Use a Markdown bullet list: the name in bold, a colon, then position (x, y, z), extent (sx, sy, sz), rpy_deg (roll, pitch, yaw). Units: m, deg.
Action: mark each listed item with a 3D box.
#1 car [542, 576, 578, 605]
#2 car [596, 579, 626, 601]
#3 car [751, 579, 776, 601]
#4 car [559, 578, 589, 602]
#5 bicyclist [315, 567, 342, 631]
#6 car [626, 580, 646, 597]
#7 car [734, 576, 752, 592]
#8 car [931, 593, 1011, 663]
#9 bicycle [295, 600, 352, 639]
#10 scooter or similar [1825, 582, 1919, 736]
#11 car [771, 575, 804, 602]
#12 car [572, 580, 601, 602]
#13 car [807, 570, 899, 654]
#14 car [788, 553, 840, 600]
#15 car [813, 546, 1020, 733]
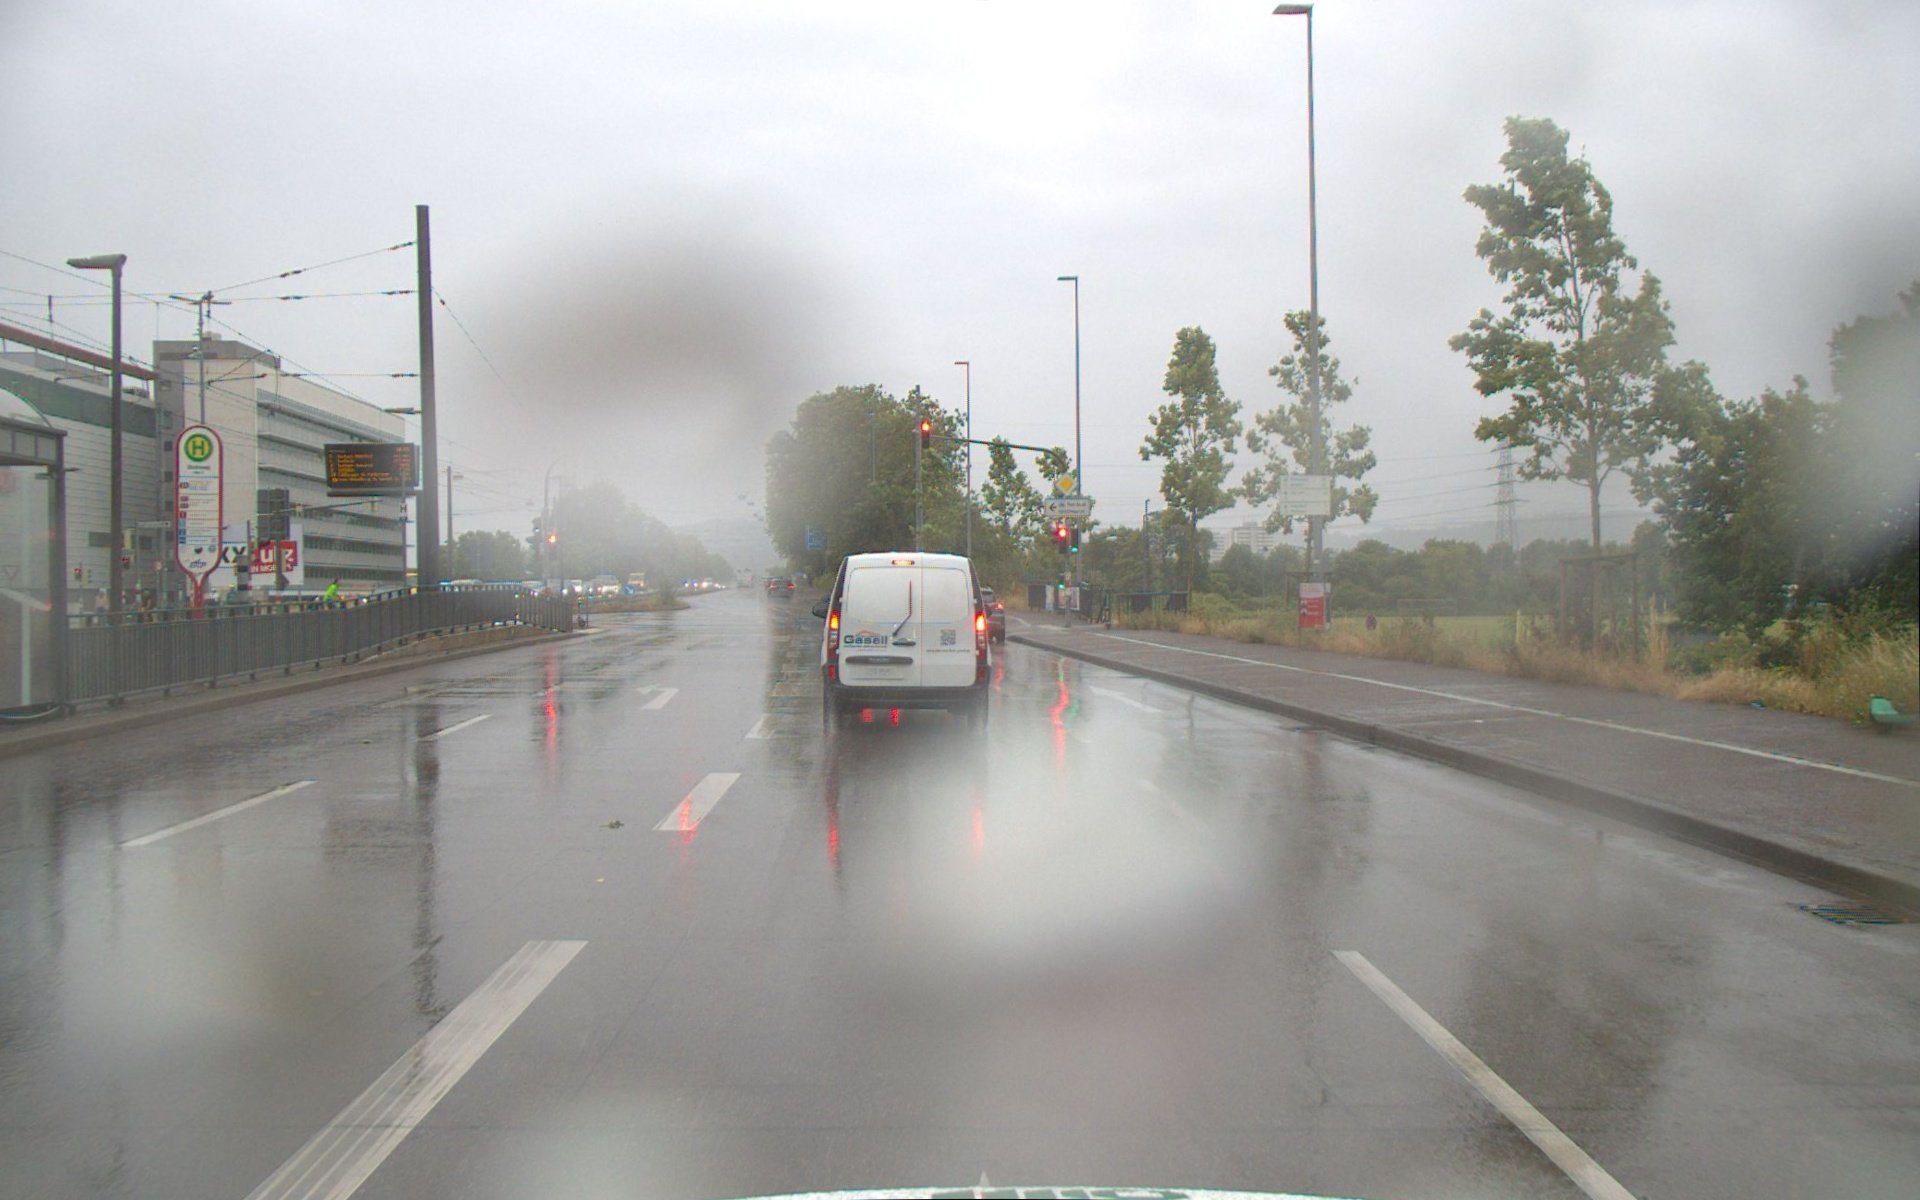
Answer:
- **car**: position (-28.562, -0.681, 118.068), extent (1.955, 2.049, 3.995), rpy_deg (1, 0, -6)
- **car**: position (-32.786, -0.938, 155.424), extent (1.953, 2.049, 3.999), rpy_deg (1, 0, -1)
- **car**: position (-16.725, -0.883, 140.477), extent (1.957, 1.780, 3.992), rpy_deg (1, 0, -9)
- **car**: position (-34.925, -0.925, 149.611), extent (1.954, 2.049, 3.997), rpy_deg (1, 0, -4)
- **bicyclist**: position (-20.330, -0.043, 53.243), extent (0.682, 2.049, 0.550), rpy_deg (1, 0, -10)
- **car**: position (-39.809, -1.446, 203.032), extent (1.955, 2.049, 3.996), rpy_deg (1, 0, -5)
- **car**: position (-25.377, -1.868, 193.698), extent (1.957, 1.780, 3.992), rpy_deg (1, 0, -9)
- **car**: position (0.249, 0.720, 44.931), extent (1.954, 1.780, 3.998), rpy_deg (1, 0, -3)
- **bicycle**: position (-20.466, 0.624, 53.211), extent (1.624, 1.210, 0.594), rpy_deg (-1, -1, -10)
- **scooter or similar**: position (7.946, 0.467, 13.700), extent (0.630, 1.216, 1.561), rpy_deg (-1, 1, -5)
- **car**: position (-11.826, -0.777, 113.233), extent (1.957, 1.780, 3.992), rpy_deg (1, 0, -9)
- **car**: position (-35.533, -0.888, 157.538), extent (1.953, 2.049, 3.999), rpy_deg (1, 0, -2)
- **car**: position (-2.423, 0.234, 37.709), extent (1.954, 1.780, 3.997), rpy_deg (1, 0, -4)
- **car**: position (-5.791, -0.936, 66.121), extent (1.954, 1.780, 3.997), rpy_deg (1, 0, -4)
- **car**: position (-0.608, 0.372, 18.320), extent (1.985, 1.806, 4.269), rpy_deg (1, 0, -5)
